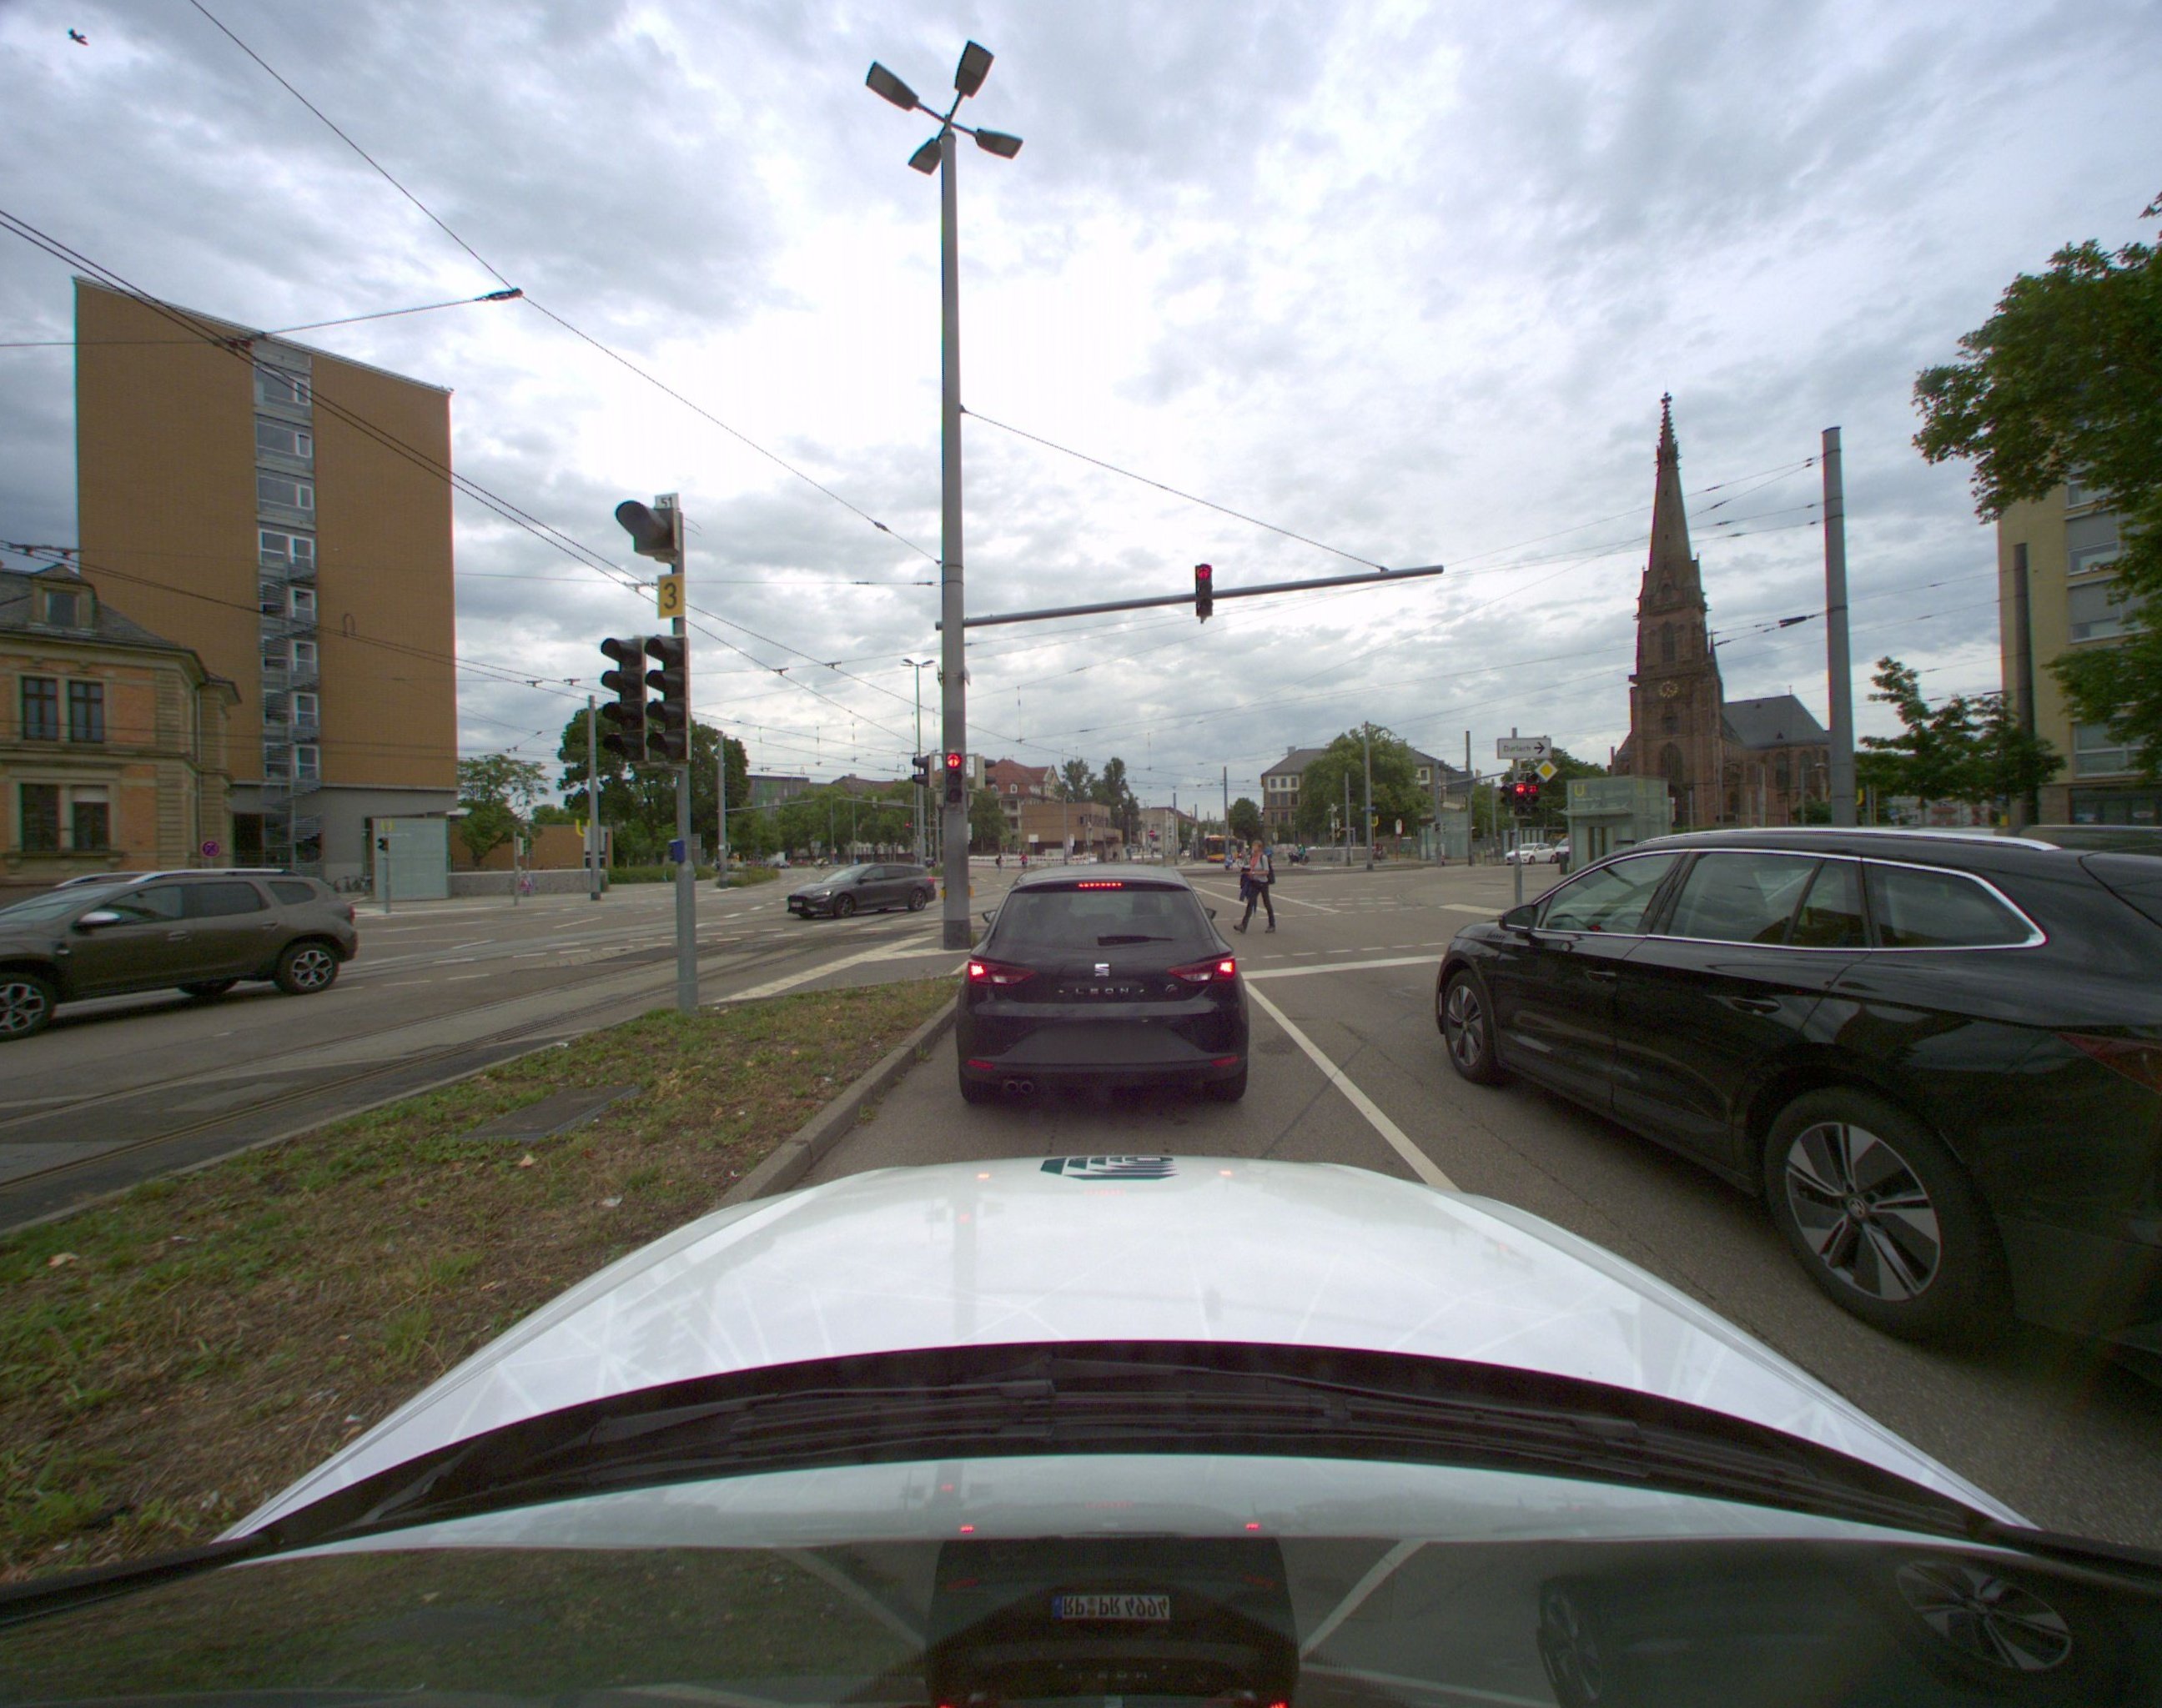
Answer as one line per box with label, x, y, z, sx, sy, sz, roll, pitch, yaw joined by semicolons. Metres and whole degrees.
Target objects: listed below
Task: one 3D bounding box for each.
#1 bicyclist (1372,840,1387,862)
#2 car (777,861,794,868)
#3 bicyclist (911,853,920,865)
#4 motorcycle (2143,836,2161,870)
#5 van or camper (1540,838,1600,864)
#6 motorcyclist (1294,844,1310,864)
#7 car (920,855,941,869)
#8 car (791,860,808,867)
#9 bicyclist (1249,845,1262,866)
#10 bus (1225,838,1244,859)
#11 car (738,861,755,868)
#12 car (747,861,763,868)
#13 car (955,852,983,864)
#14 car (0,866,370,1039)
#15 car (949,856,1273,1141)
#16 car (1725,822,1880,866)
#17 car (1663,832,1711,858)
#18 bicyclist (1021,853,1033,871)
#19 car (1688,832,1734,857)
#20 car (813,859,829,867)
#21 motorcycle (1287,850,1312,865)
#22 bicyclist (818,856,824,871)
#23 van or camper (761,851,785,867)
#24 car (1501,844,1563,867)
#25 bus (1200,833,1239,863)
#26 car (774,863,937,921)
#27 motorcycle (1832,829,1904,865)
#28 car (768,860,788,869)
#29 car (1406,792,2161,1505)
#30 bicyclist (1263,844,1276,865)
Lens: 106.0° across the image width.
bicyclist;25.969;-0.239;70.857;1.003;1.897;0.768;-1;0;-44
car;-60.898;2.137;167.936;1.792;1.464;3.951;-1;1;-44
bicyclist;-27.775;0.817;136.538;0.928;2.013;0.984;-1;0;30
motorcycle;31.722;-0.039;23.719;1.020;0.997;0.863;-1;0;-41
van or camper;35.309;-0.202;58.780;4.321;1.742;1.979;-1;-2;-34
motorcyclist;18.211;0.015;67.093;0.984;1.649;0.742;-1;-1;-31
car;-19.522;1.005;105.544;2.000;1.684;3.973;-1;-1;-20
car;-56.466;1.918;163.440;1.792;1.464;3.951;-1;1;-44
bicyclist;14.324;0.118;66.890;0.853;1.673;0.652;-1;0;-8
bus;25.791;-0.961;136.388;2.635;3.283;11.035;-1;0;13
car;-73.756;2.375;179.545;3.949;1.464;1.792;0;1;43
car;-68.692;2.257;171.734;1.792;1.464;3.951;-1;1;-44
car;-17.008;0.648;123.762;3.970;1.684;2.001;-2;-1;3
car;-11.289;1.016;9.523;1.786;1.640;4.243;-1;0;11
car;0.103;0.760;6.218;1.700;1.449;3.809;-1;0;-2
car;37.633;-0.489;42.687;5.672;2.014;2.038;-2;-1;19
car;49.747;-0.740;66.849;4.017;2.013;1.978;-1;0;-36
bicyclist;-5.166;0.765;77.496;0.886;1.732;0.888;-1;0;-20
car;53.610;-0.831;69.285;4.017;2.013;1.978;-1;0;-36
car;-49.385;1.615;154.547;1.790;1.464;3.956;-1;1;-36
motorcycle;17.956;0.270;66.923;2.148;1.139;0.737;-1;0;-31
bicyclist;-36.439;1.334;113.944;0.508;2.014;0.593;-3;-2;44
van or camper;-62.763;1.077;166.129;5.434;3.124;2.410;-1;0;43
car;30.440;0.099;54.922;4.011;1.464;1.758;-1;-1;-29
bus;16.012;-0.691;93.379;2.938;3.123;11.589;-1;0;16
car;-6.344;1.017;23.407;1.676;1.396;4.421;-1;0;35
motorcycle;26.979;-0.249;27.914;2.386;1.168;0.762;-1;0;-19
car;-53.978;1.833;144.878;1.792;1.464;3.950;-1;0;-45
car;3.319;0.638;3.878;1.771;1.597;4.510;-1;0;1
bicyclist;17.108;0.059;73.832;0.869;1.851;1.046;-1;0;-4
